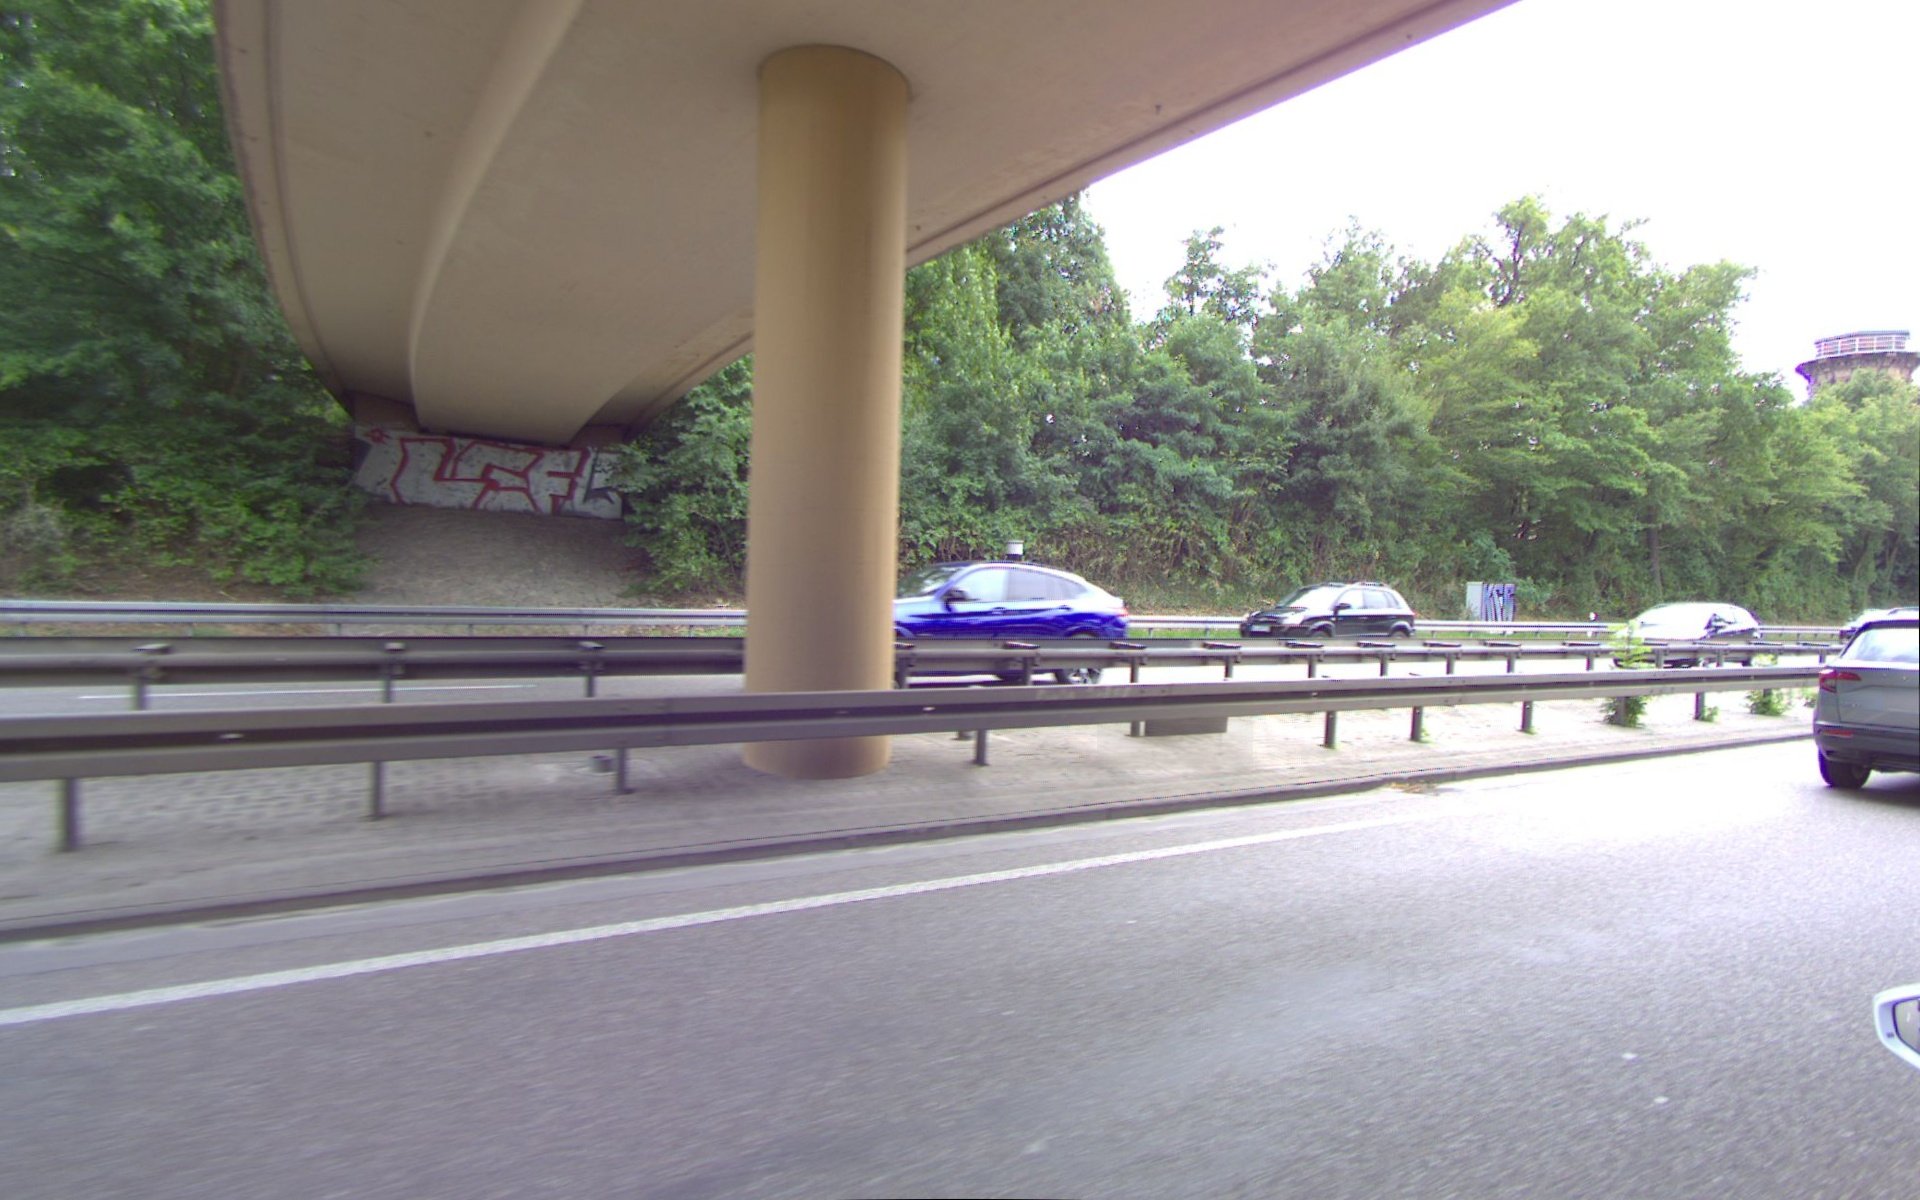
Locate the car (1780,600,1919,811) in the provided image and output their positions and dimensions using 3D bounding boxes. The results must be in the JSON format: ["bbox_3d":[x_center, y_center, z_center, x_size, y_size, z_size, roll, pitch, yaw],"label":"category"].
[{"bbox_3d":[9.253,0.881,8.844,4.119,1.631,1.817,2,0,-30],"label":"car"}]

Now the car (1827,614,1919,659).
[{"bbox_3d":[36.913,1.451,40.266,4.585,1.674,1.884,2,0,-30],"label":"car"}]

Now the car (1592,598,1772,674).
[{"bbox_3d":[15.631,0.771,21.716,3.943,1.483,1.681,2,0,-30],"label":"car"}]

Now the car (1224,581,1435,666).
[{"bbox_3d":[8.215,0.521,22.217,4.585,1.709,1.884,2,0,-30],"label":"car"}]

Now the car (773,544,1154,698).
[{"bbox_3d":[0.108,0.287,12.934,4.585,1.674,1.884,2,0,-30],"label":"car"}]
